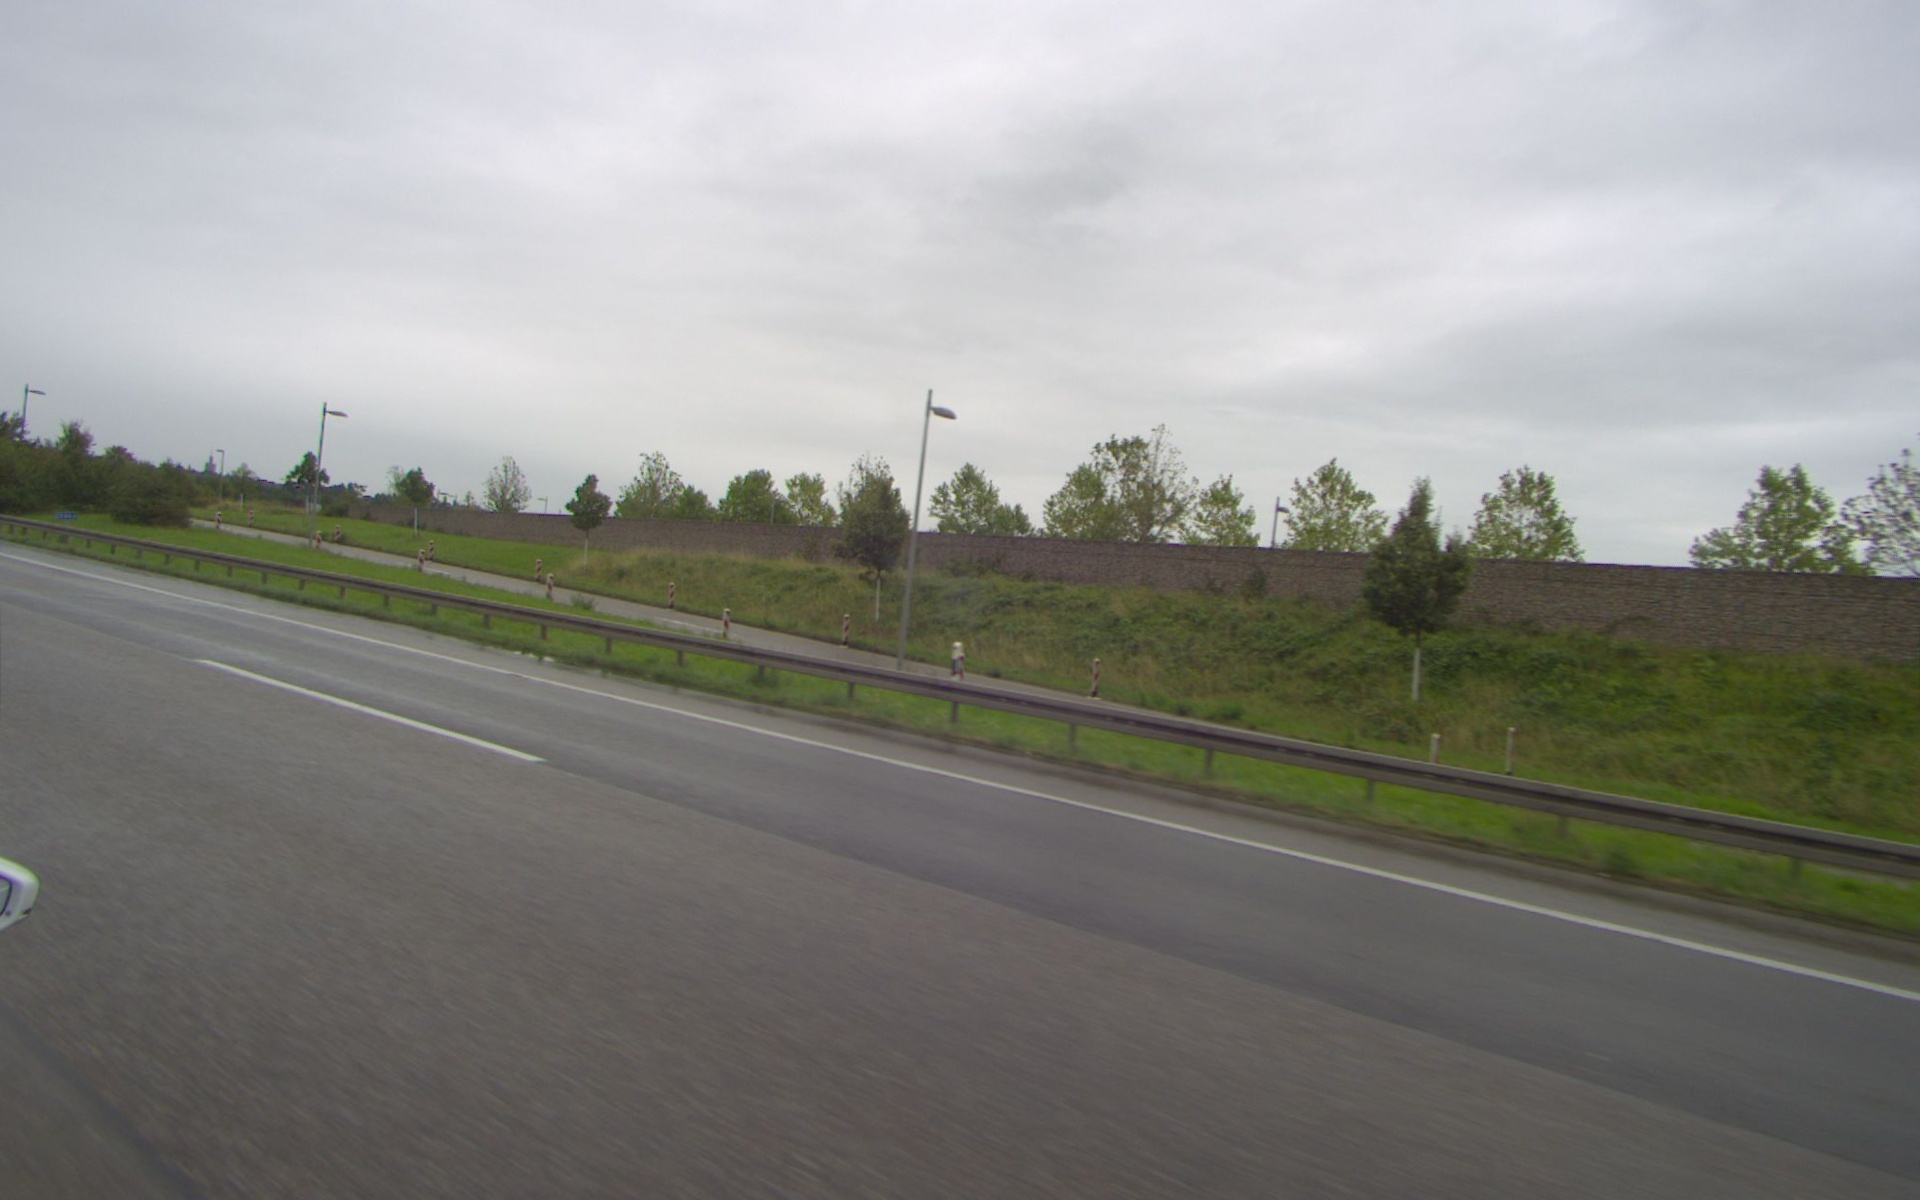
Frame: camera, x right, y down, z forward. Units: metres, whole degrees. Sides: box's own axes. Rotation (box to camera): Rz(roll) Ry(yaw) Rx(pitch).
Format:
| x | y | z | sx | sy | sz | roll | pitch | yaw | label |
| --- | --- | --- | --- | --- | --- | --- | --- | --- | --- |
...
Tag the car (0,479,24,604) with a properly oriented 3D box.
| x | y | z | sx | sy | sz | roll | pitch | yaw | label |
| --- | --- | --- | --- | --- | --- | --- | --- | --- | --- |
| -15.819 | -1.120 | 14.416 | 5.431 | 1.690 | 2.061 | 6 | -2 | 32 | car |
